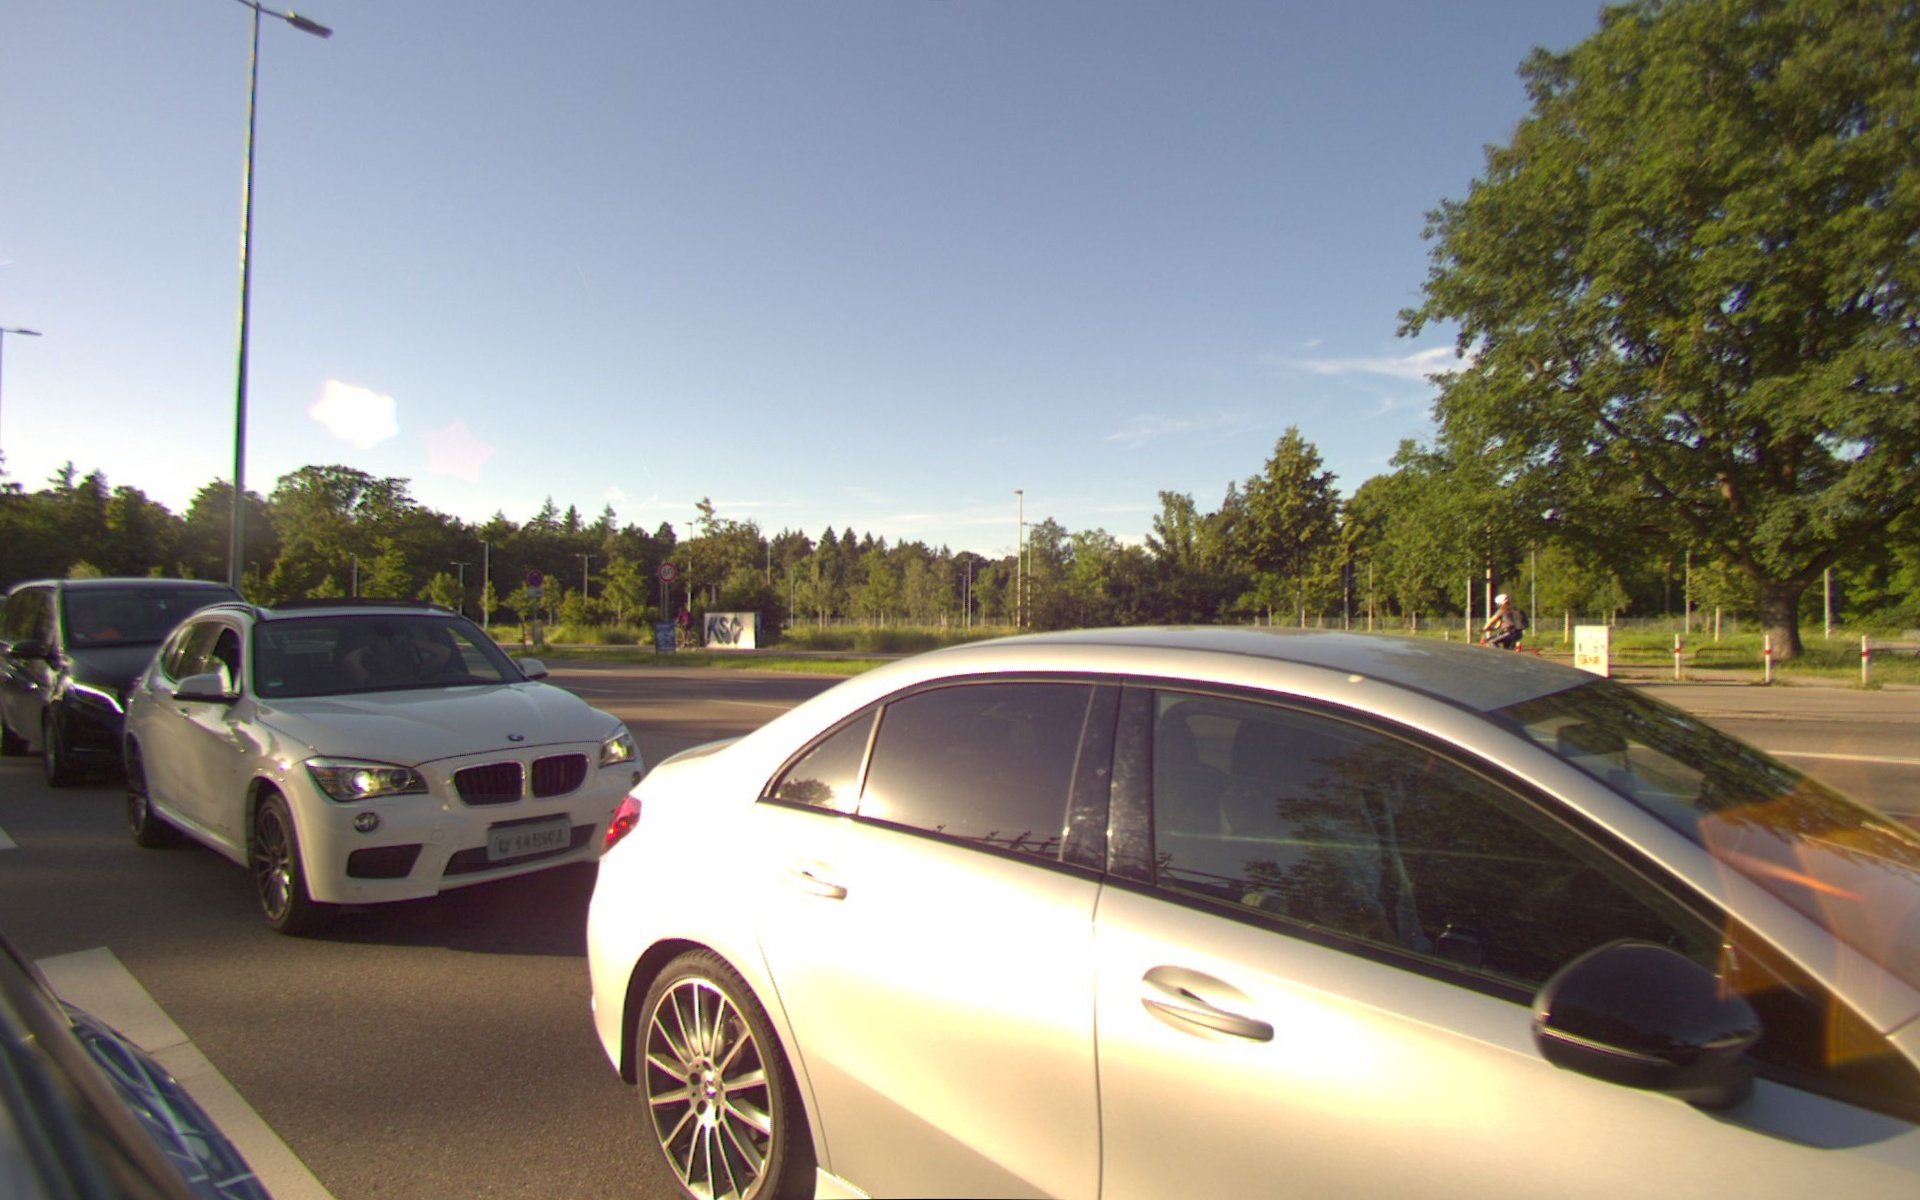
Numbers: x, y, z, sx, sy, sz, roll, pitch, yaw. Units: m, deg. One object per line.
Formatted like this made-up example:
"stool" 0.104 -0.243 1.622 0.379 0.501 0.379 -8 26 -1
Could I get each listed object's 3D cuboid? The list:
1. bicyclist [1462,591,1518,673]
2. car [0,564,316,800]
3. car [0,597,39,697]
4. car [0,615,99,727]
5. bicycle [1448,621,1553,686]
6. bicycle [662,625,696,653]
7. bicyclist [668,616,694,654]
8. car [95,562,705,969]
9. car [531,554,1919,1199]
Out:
"bicyclist" 10.793 0.636 20.619 0.672 1.623 0.801 -1 0 -42
"car" -8.661 0.698 10.505 5.230 1.887 1.861 -1 -1 40
"car" -20.648 0.954 20.820 5.064 1.907 1.844 -1 0 40
"car" -15.026 1.042 15.830 4.100 1.581 1.714 -1 -1 40
"bicycle" 10.931 1.052 20.508 0.487 1.247 1.797 -1 0 -42
"bicycle" -10.533 1.462 37.965 1.361 1.027 0.576 -1 0 42
"bicyclist" -10.422 1.297 37.797 0.800 1.424 0.585 -1 0 43
"car" -3.567 0.687 6.055 4.317 1.595 1.774 -1 -1 40
"car" 0.961 0.688 2.023 4.316 1.438 1.640 -1 -1 41
